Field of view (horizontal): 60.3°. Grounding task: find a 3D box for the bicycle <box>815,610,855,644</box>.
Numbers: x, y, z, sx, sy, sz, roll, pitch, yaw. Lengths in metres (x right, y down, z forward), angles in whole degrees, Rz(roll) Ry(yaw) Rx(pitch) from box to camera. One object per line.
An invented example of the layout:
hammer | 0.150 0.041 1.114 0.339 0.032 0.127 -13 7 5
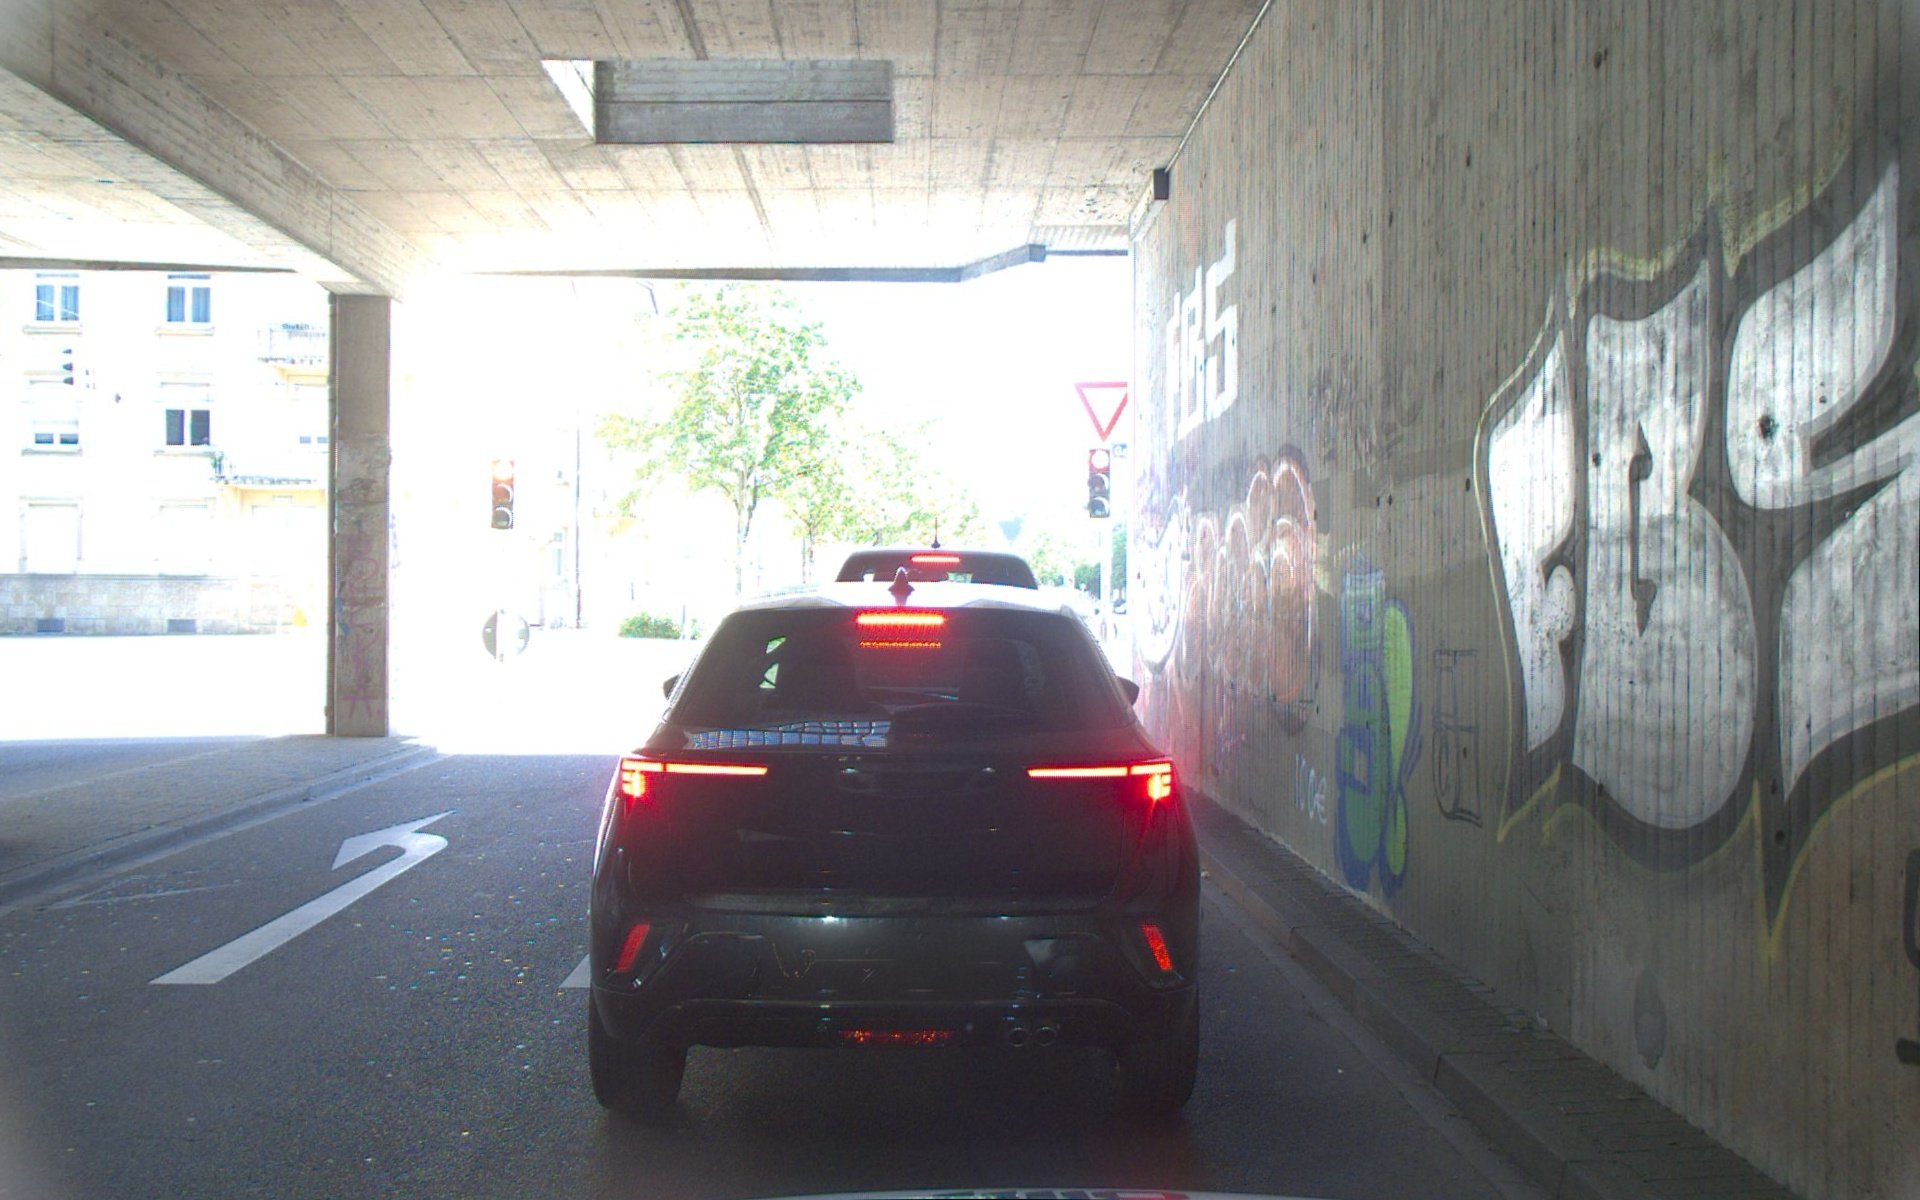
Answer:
bicycle | -4.354 0.941 57.625 0.721 1.150 2.027 0 0 16

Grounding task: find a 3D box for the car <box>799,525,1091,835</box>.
car | -0.112 0.478 12.037 1.749 1.865 3.960 1 0 -1

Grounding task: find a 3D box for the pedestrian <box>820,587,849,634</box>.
pedestrian | -4.380 0.376 57.629 0.720 1.612 0.891 1 -1 15

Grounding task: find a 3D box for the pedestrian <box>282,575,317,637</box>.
pedestrian | -18.467 0.168 46.253 0.706 1.734 0.624 1 -1 -4

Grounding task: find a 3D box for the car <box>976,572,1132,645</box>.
car | 2.380 0.164 40.731 1.957 1.670 4.583 0 1 31

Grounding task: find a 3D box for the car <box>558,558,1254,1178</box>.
car | -0.148 0.663 6.143 1.718 1.525 4.000 1 0 -1

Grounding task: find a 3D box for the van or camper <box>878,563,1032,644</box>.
van or camper | -0.095 0.086 43.369 3.795 2.049 2.002 0 0 7
